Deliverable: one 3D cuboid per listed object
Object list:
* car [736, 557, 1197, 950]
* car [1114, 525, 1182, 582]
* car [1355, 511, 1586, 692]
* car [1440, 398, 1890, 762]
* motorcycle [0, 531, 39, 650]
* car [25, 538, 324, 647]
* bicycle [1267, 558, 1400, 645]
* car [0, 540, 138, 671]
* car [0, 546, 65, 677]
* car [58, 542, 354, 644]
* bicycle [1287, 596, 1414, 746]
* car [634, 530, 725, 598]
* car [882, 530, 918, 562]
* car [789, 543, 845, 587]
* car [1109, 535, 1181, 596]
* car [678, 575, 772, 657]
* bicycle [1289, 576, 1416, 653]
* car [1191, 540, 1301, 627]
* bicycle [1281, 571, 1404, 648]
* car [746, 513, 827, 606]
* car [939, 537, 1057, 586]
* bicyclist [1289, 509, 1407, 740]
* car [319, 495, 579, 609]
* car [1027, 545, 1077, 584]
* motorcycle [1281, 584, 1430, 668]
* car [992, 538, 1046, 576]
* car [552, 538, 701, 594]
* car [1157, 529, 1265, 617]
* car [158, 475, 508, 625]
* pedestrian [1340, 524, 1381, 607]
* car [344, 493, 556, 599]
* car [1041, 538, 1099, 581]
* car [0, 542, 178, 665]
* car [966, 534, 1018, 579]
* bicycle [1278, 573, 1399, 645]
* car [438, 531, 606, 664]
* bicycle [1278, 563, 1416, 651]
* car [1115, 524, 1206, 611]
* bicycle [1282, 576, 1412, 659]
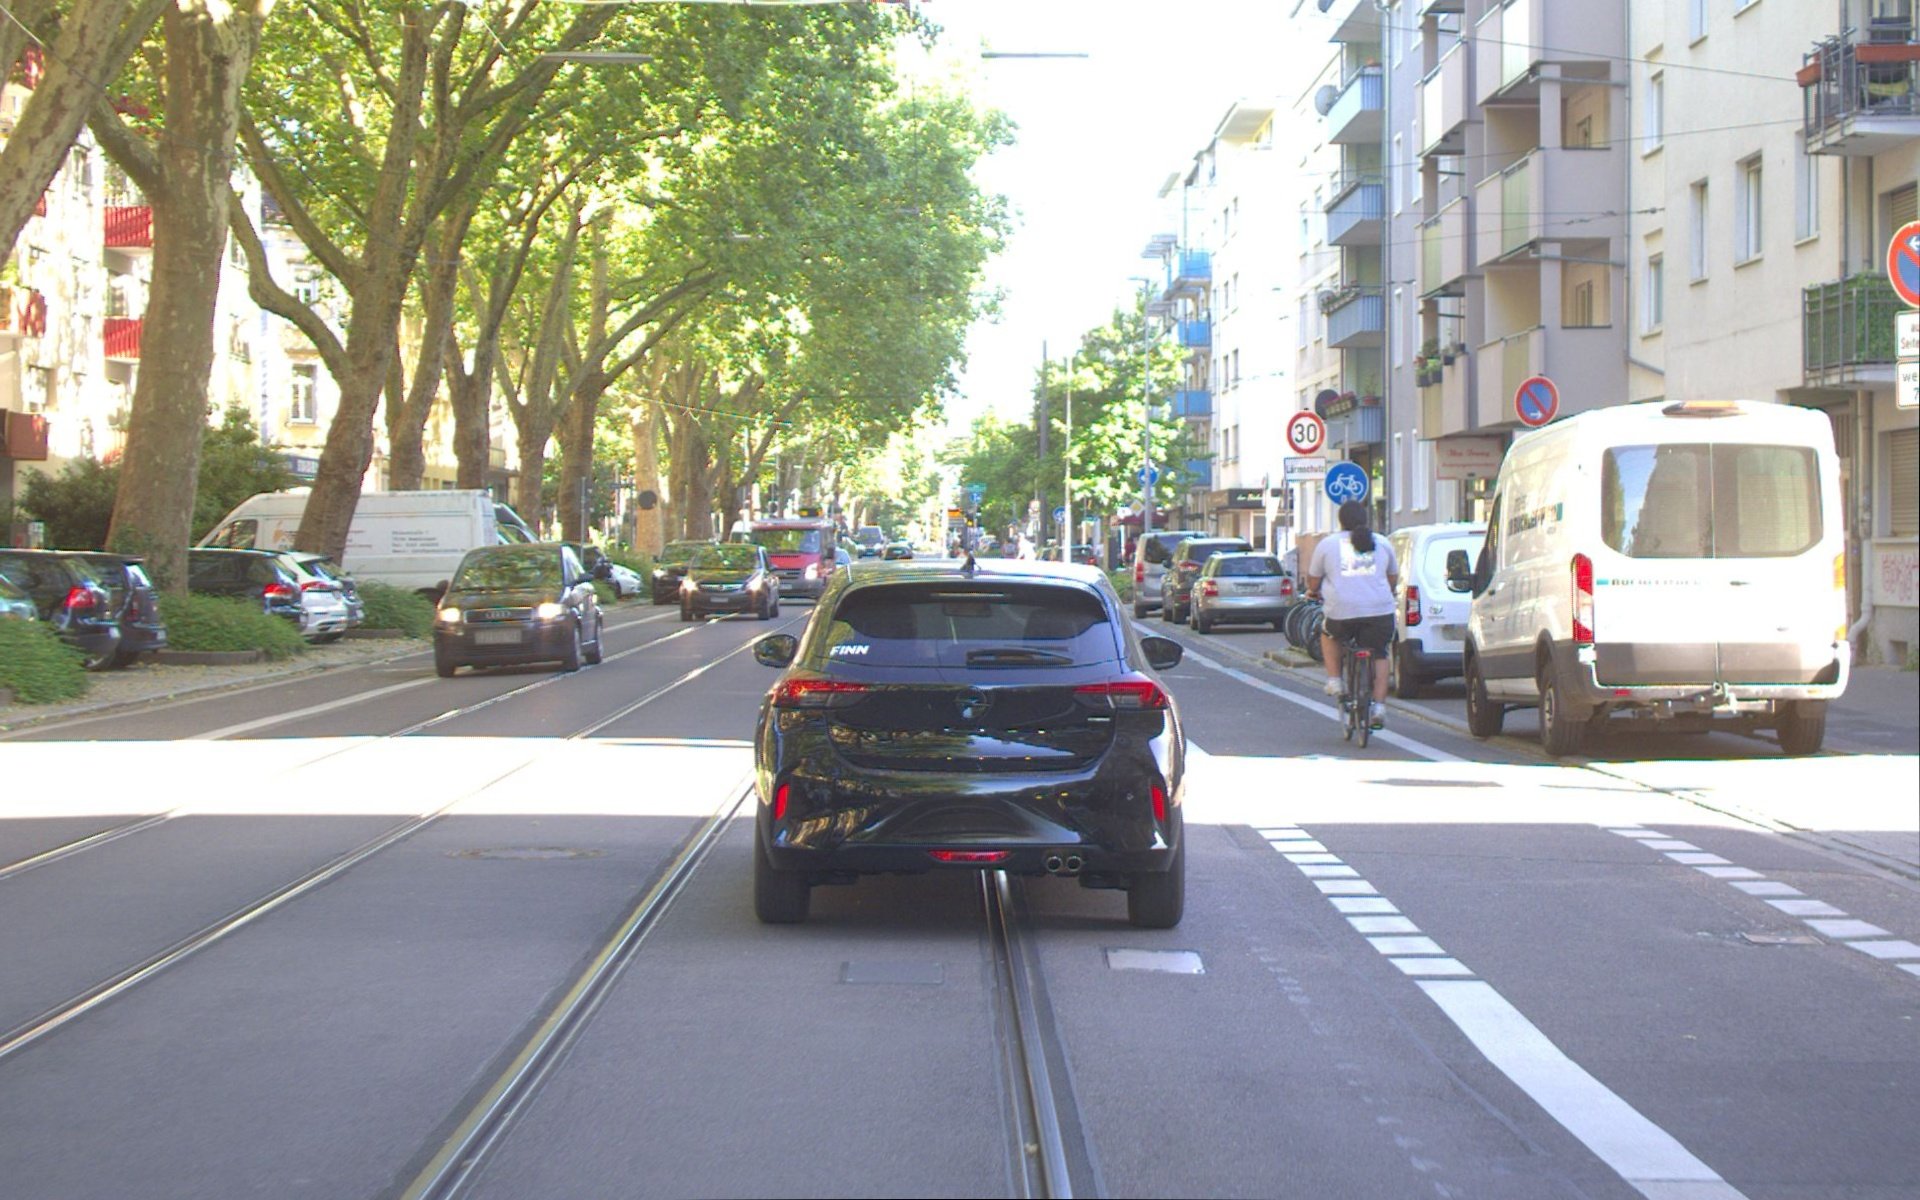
[{"bbox_3d":[0.003,0.550,14.633,1.679,1.417,3.628,2,1,-1],"label":"car"},{"bbox_3d":[5.560,-1.375,102.044,1.858,1.646,4.000,0,1,1],"label":"car"},{"bbox_3d":[5.397,-0.023,36.821,1.858,1.814,4.351,0,1,0],"label":"car"},{"bbox_3d":[5.263,-0.175,26.634,2.149,2.487,6.089,0,1,-1],"label":"car"},{"bbox_3d":[-13.624,-0.149,47.324,1.052,1.625,3.012,2,0,0],"label":"motorcycle"},{"bbox_3d":[-11.034,-0.118,48.429,3.793,1.455,1.704,1,1,1],"label":"car"},{"bbox_3d":[5.364,0.016,49.450,1.823,1.187,0.457,-2,1,0],"label":"bicycle"},{"bbox_3d":[-11.622,0.045,39.339,3.987,1.455,1.770,0,1,2],"label":"car"},{"bbox_3d":[-11.799,0.103,36.813,3.987,1.364,1.605,0,1,2],"label":"car"},{"bbox_3d":[-11.148,-0.120,51.010,3.987,1.491,1.830,0,1,1],"label":"car"},{"bbox_3d":[3.021,0.531,26.772,0.701,1.088,1.990,2,0,-1],"label":"bicycle"},{"bbox_3d":[-7.317,-0.961,89.930,1.993,1.694,4.485,-2,1,0],"label":"car"},{"bbox_3d":[-3.150,-2.833,180.929,1.750,1.646,4.000,0,1,1],"label":"car"},{"bbox_3d":[-4.443,-1.115,107.376,1.718,1.354,4.470,0,1,-2],"label":"car"},{"bbox_3d":[5.049,-0.963,94.225,1.858,1.646,4.000,0,1,1],"label":"car"},{"bbox_3d":[-4.542,0.295,66.826,1.718,1.504,3.723,0,1,-2],"label":"car"},{"bbox_3d":[5.366,0.194,47.050,1.652,0.983,0.457,-2,1,0],"label":"bicycle"},{"bbox_3d":[5.119,-0.327,61.978,1.724,1.520,4.513,0,1,1],"label":"car"},{"bbox_3d":[5.384,0.133,48.444,1.652,1.017,0.457,-2,1,0],"label":"bicycle"},{"bbox_3d":[-4.222,-1.004,84.364,1.917,2.219,4.961,0,1,-2],"label":"car"},{"bbox_3d":[1.269,-1.312,116.715,3.987,1.646,1.865,0,1,0],"label":"car"},{"bbox_3d":[2.990,0.178,26.595,0.786,1.753,0.915,0,1,-1],"label":"bicyclist"},{"bbox_3d":[-11.142,-1.055,75.202,5.360,2.469,2.057,0,1,0],"label":"car"},{"bbox_3d":[3.546,-1.369,132.461,1.718,1.485,3.682,0,1,-2],"label":"car"},{"bbox_3d":[5.179,0.339,45.041,1.820,1.076,0.616,-1,1,23],"label":"motorcycle"},{"bbox_3d":[2.573,-1.887,151.119,1.993,1.634,4.001,0,1,-4],"label":"car"},{"bbox_3d":[-9.198,-0.943,95.066,3.986,1.516,1.771,0,1,-1],"label":"car"},{"bbox_3d":[4.971,-0.563,68.538,1.766,1.699,4.283,0,1,-1],"label":"car"},{"bbox_3d":[-10.992,-0.893,60.525,5.740,2.527,2.162,1,1,0],"label":"car"},{"bbox_3d":[8.415,-0.727,72.194,0.756,1.714,0.720,0,1,-1],"label":"pedestrian"},{"bbox_3d":[-12.401,-1.321,83.870,4.943,2.559,2.083,0,1,-3],"label":"car"},{"bbox_3d":[4.041,-1.497,126.791,1.718,1.568,4.085,0,1,-4],"label":"car"},{"bbox_3d":[-11.700,0.027,41.781,3.987,1.455,1.704,0,1,2],"label":"car"},{"bbox_3d":[1.214,-1.635,128.444,1.858,1.646,4.000,0,1,1],"label":"car"},{"bbox_3d":[5.389,0.130,48.973,1.652,0.963,0.457,-2,1,0],"label":"bicycle"},{"bbox_3d":[-5.157,-0.060,40.824,1.635,1.504,3.692,0,1,-2],"label":"car"},{"bbox_3d":[5.373,0.095,47.778,1.793,1.144,0.704,-2,1,0],"label":"bicycle"},{"bbox_3d":[4.472,-0.754,77.210,1.858,1.883,4.924,0,1,1],"label":"car"},{"bbox_3d":[5.174,0.228,45.987,1.652,1.051,0.457,-2,1,0],"label":"bicycle"}]
